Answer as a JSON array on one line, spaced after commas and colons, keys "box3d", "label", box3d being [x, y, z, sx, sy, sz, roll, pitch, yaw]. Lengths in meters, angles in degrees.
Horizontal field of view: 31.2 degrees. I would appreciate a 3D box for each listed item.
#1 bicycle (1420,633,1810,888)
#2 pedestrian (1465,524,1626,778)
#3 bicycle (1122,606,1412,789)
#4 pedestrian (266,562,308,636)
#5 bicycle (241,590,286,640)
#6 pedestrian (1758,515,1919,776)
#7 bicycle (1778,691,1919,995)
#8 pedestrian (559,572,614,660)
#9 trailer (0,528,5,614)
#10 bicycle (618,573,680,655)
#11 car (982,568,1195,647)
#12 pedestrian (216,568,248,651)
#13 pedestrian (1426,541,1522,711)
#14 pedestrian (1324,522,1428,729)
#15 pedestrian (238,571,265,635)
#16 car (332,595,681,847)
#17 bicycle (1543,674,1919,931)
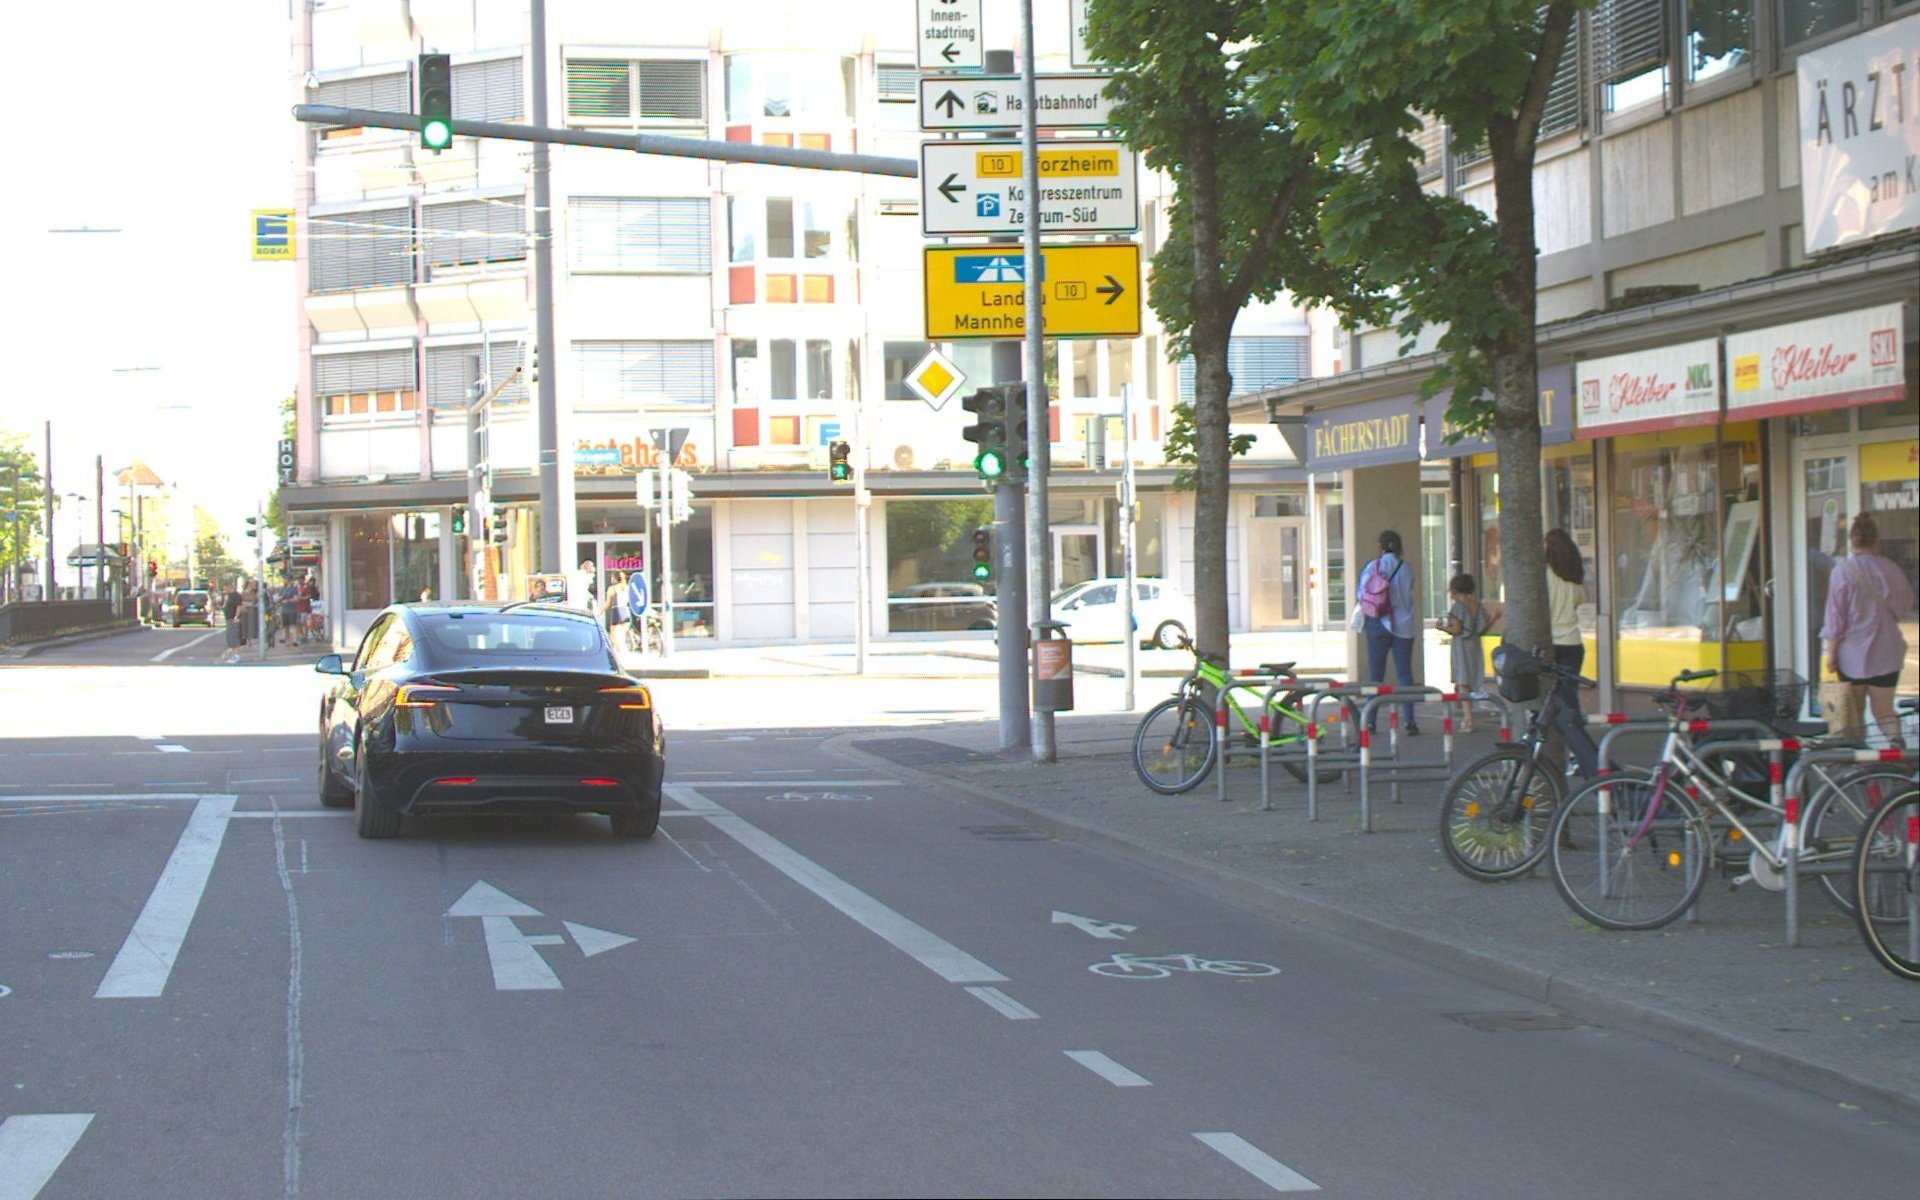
[{"box3d": [3.189, 0.766, 16.734, 1.809, 1.147, 0.435, -2, 0, -12], "label": "bicycle"}, {"box3d": [4.024, 0.342, 23.694, 0.843, 1.701, 0.880, -1, 0, -9], "label": "pedestrian"}, {"box3d": [2.119, 0.667, 23.785, 1.889, 1.152, 0.480, -3, 0, -8], "label": "bicycle"}, {"box3d": [-16.014, -0.028, 81.821, 0.914, 1.748, 0.839, -1, 0, -9], "label": "pedestrian"}, {"box3d": [-16.481, 0.355, 81.313, 0.488, 1.157, 1.973, -1, 0, -28], "label": "bicycle"}, {"box3d": [5.594, 0.277, 21.599, 0.843, 1.597, 0.880, -1, 0, -9], "label": "pedestrian"}, {"box3d": [3.988, 0.853, 12.848, 1.849, 1.052, 0.399, -3, 1, -19], "label": "bicycle"}, {"box3d": [-6.787, 0.287, 62.462, 0.779, 1.571, 0.868, -1, 2, -23], "label": "pedestrian"}, {"box3d": [-40.451, -1.182, 139.054, 2.713, 3.534, 9.361, -1, 0, -11], "label": "trailer"}, {"box3d": [-5.699, 0.249, 62.979, 0.582, 1.458, 1.686, -2, 1, -24], "label": "bicycle"}, {"box3d": [2.540, 0.150, 68.163, 3.839, 1.427, 1.804, -1, -1, -13], "label": "car"}, {"box3d": [-15.663, 0.206, 73.989, 0.626, 1.776, 0.918, -1, 0, -11], "label": "pedestrian"}, {"box3d": [4.354, 0.216, 29.128, 0.644, 1.417, 0.621, -1, 0, -7], "label": "pedestrian"}, {"box3d": [3.522, 0.213, 29.135, 0.843, 1.715, 0.880, -1, 0, 7], "label": "pedestrian"}, {"box3d": [-17.366, 0.064, 84.241, 0.471, 1.557, 0.545, -1, 0, -30], "label": "pedestrian"}, {"box3d": [-2.997, 0.705, 22.049, 1.790, 1.446, 3.941, 1, 0, -14], "label": "car"}, {"box3d": [3.441, 0.859, 14.802, 1.767, 1.053, 0.458, -1, 0, -3], "label": "bicycle"}]
